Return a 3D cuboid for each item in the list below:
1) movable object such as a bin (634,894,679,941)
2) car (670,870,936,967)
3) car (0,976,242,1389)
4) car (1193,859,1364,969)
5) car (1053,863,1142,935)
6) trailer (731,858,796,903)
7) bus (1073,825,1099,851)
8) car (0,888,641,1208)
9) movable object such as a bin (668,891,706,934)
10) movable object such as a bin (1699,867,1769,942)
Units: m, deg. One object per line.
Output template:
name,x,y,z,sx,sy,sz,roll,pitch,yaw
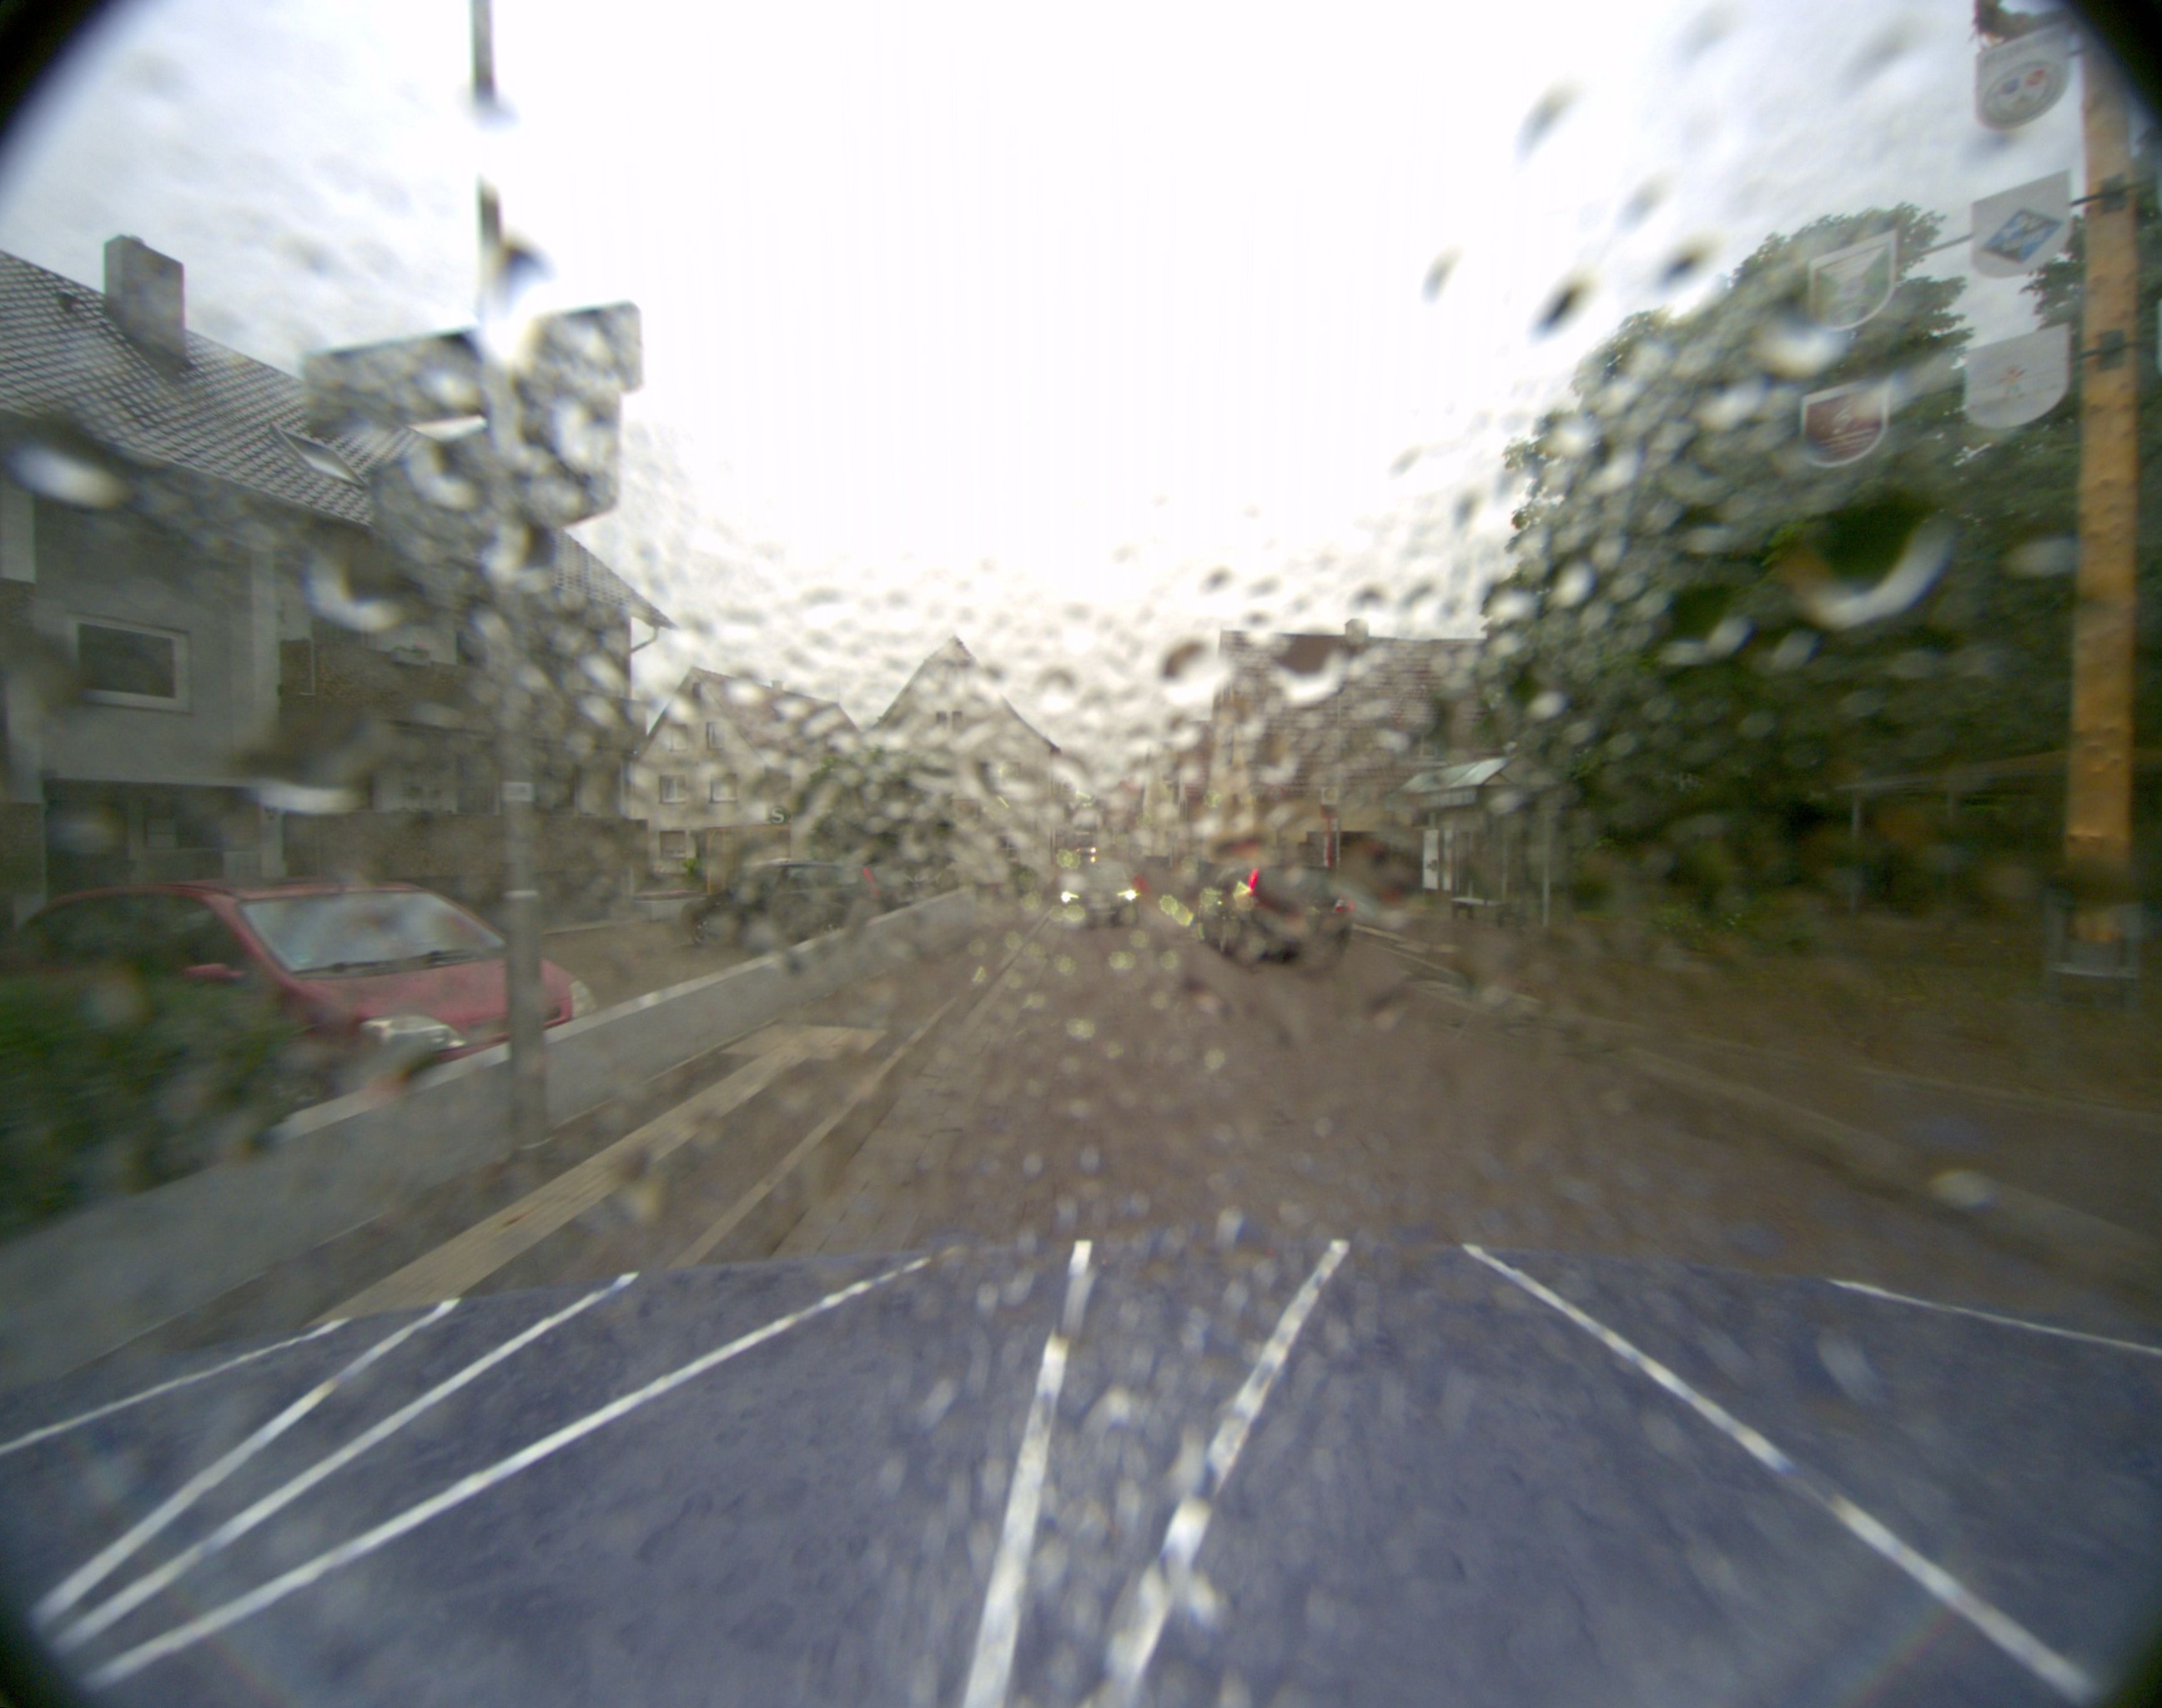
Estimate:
movable object such as a bin,-10.555,1.570,18.896,0.624,1.112,0.692,-1,1,24
car,-4.893,1.046,13.462,4.233,1.472,1.697,0,1,17
car,-5.979,1.288,2.966,3.958,1.370,1.753,0,1,9
car,3.037,0.839,12.643,1.848,1.468,4.315,1,0,2
car,0.430,0.961,17.524,1.800,1.342,3.738,-2,1,3
trailer,-13.393,1.081,32.163,1.572,1.732,2.610,-1,0,1
bus,0.618,-2.409,109.920,2.893,3.590,11.971,0,2,-3
car,-5.616,1.105,5.508,4.073,1.580,1.859,0,1,16
movable object such as a bin,-10.101,1.491,19.482,0.624,1.060,0.571,-1,1,28
movable object such as a bin,10.408,0.796,12.129,0.563,1.140,0.604,0,3,-1
